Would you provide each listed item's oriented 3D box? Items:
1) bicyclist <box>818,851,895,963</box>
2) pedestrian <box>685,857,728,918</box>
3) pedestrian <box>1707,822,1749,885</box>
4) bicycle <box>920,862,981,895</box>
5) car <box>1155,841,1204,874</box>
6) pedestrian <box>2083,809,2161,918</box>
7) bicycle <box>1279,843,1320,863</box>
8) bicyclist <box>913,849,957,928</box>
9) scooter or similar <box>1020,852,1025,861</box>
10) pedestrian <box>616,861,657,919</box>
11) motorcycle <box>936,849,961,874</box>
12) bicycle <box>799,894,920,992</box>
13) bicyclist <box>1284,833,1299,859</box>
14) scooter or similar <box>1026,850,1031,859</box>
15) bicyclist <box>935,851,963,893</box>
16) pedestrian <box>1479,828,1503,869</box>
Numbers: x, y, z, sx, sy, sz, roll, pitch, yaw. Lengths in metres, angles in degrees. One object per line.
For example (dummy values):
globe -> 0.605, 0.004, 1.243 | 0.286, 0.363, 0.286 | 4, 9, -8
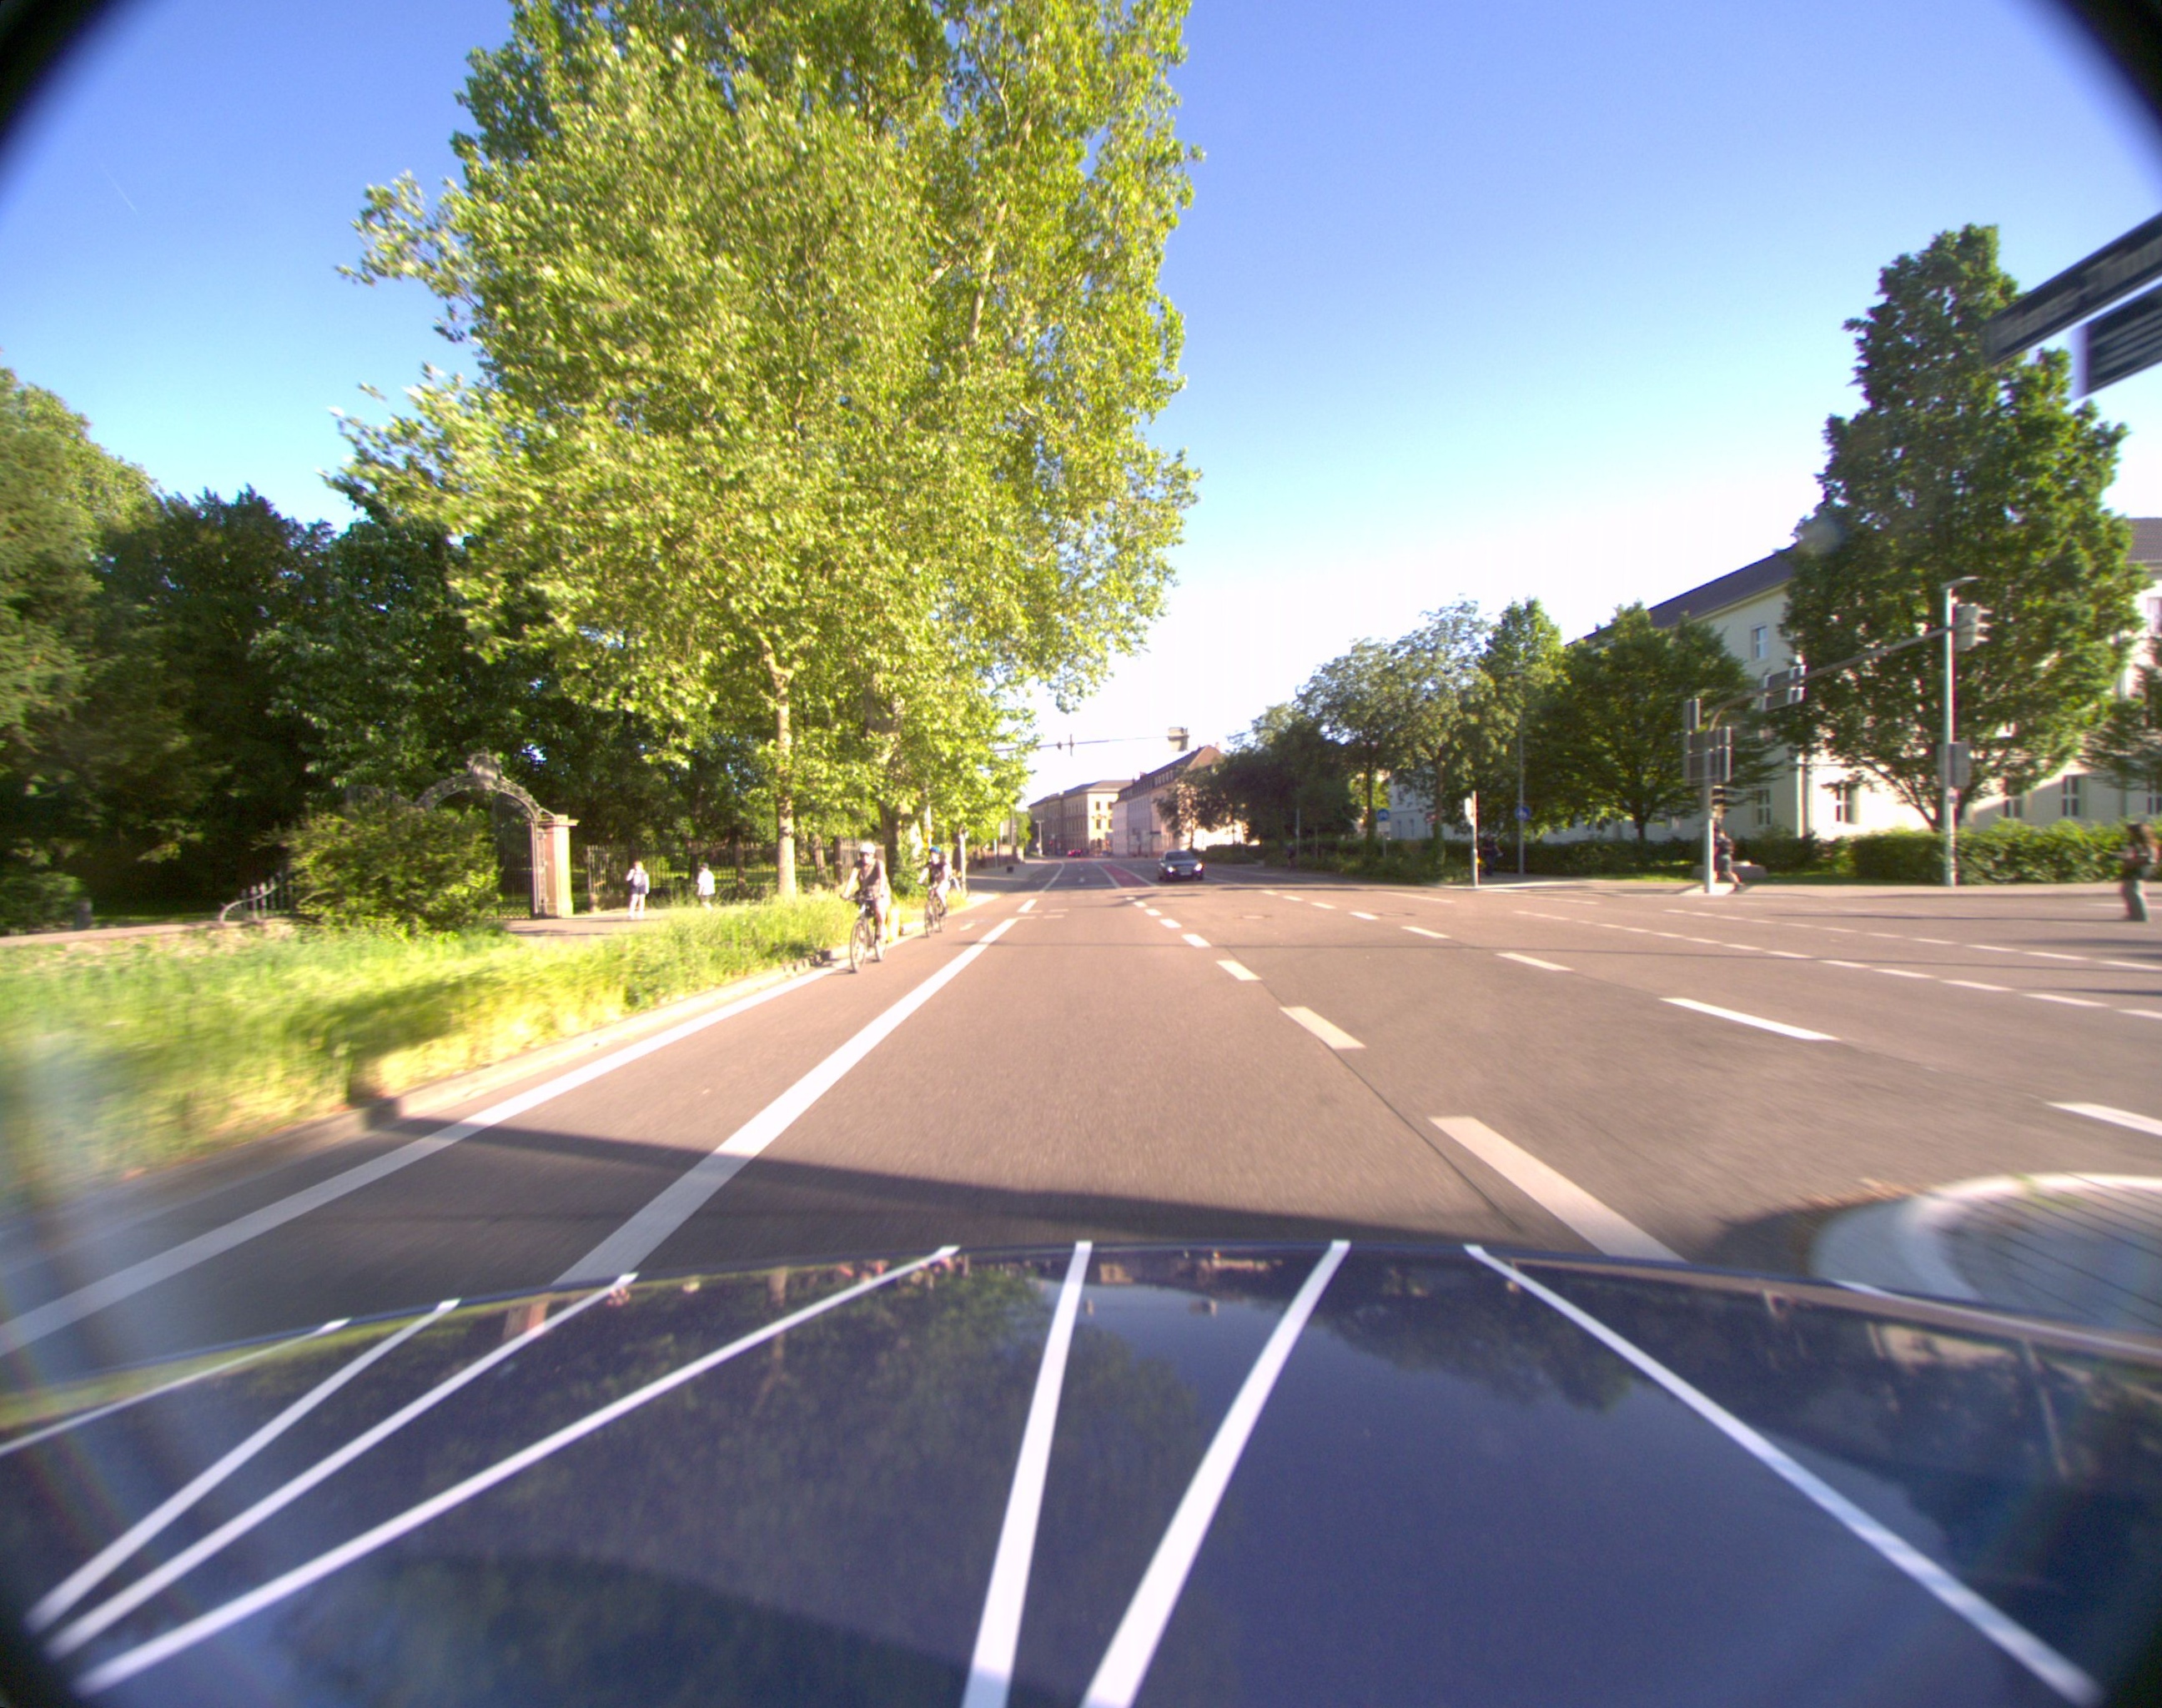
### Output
bicyclist -> -3.104, 0.711, 10.564 | 0.694, 1.482, 0.801 | -1, 2, 12
pedestrian -> -9.813, 0.865, 19.929 | 0.691, 1.537, 0.681 | -1, 2, 9
pedestrian -> 19.101, -0.022, 22.442 | 0.691, 1.806, 0.681 | -1, 2, 9
bicycle -> -4.594, 0.867, 26.799 | 1.988, 1.089, 0.695 | -1, 2, 7
car -> 4.465, 0.116, 34.990 | 1.722, 1.410, 4.526 | -1, 1, 1
pedestrian -> 18.042, 0.154, 13.019 | 0.744, 1.806, 0.727 | -1, 2, 9
bicycle -> 12.593, -0.031, 43.716 | 2.184, 1.110, 0.699 | -1, 2, 24
bicyclist -> -2.900, 0.668, 15.167 | 0.695, 1.493, 0.892 | -1, 2, -2
scooter or similar -> -6.712, 0.287, 87.275 | 0.416, 1.035, 1.778 | -4, 2, 1
pedestrian -> -12.912, 1.047, 22.067 | 0.691, 1.624, 0.681 | -1, 2, 9
motorcycle -> -7.127, 0.387, 40.959 | 0.906, 1.285, 2.037 | -1, 1, 1
bicycle -> -3.072, 1.196, 10.807 | 0.694, 1.089, 2.137 | -1, 1, 12
bicyclist -> 12.150, -0.476, 43.895 | 0.756, 1.458, 0.699 | -1, 2, 23
scooter or similar -> -6.238, 0.085, 89.802 | 0.416, 1.035, 1.778 | -4, 2, 1
bicyclist -> -4.659, 0.639, 26.792 | 0.766, 1.439, 0.695 | -1, 2, 7
pedestrian -> 17.167, -0.241, 31.797 | 0.691, 1.672, 0.681 | -1, 2, 9
